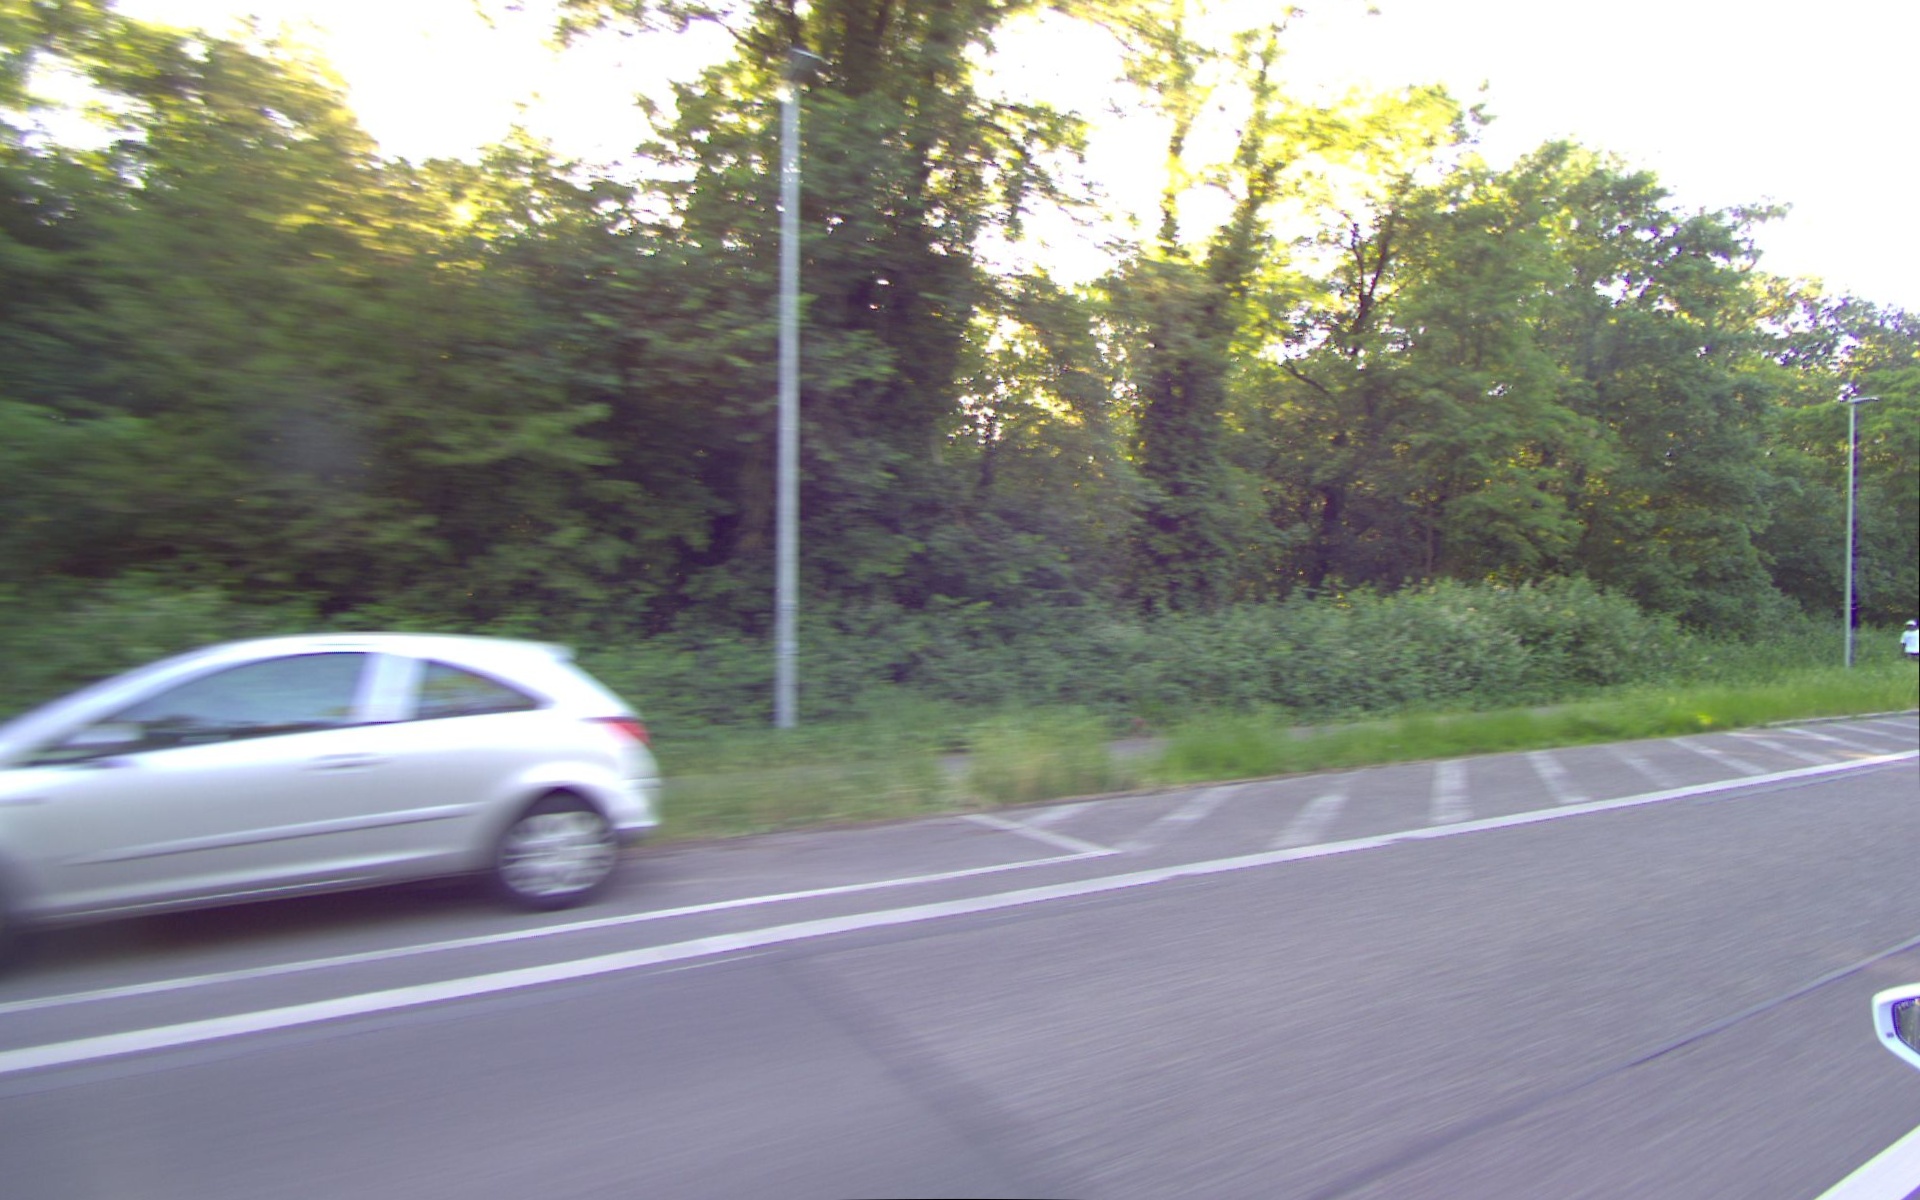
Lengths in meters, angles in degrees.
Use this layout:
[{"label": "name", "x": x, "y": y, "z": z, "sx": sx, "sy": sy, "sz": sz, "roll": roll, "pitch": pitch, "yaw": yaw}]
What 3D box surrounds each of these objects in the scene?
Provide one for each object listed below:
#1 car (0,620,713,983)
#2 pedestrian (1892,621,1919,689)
[{"label": "car", "x": -3.604, "y": 0.899, "z": 5.410, "sx": 4.084, "sy": 1.482, "sz": 1.859, "roll": 1, "pitch": -4, "yaw": -30}, {"label": "pedestrian", "x": 29.154, "y": 1.667, "z": 30.736, "sx": 0.704, "sy": 2.040, "sz": 0.690, "roll": 1, "pitch": 1, "yaw": -30}]
